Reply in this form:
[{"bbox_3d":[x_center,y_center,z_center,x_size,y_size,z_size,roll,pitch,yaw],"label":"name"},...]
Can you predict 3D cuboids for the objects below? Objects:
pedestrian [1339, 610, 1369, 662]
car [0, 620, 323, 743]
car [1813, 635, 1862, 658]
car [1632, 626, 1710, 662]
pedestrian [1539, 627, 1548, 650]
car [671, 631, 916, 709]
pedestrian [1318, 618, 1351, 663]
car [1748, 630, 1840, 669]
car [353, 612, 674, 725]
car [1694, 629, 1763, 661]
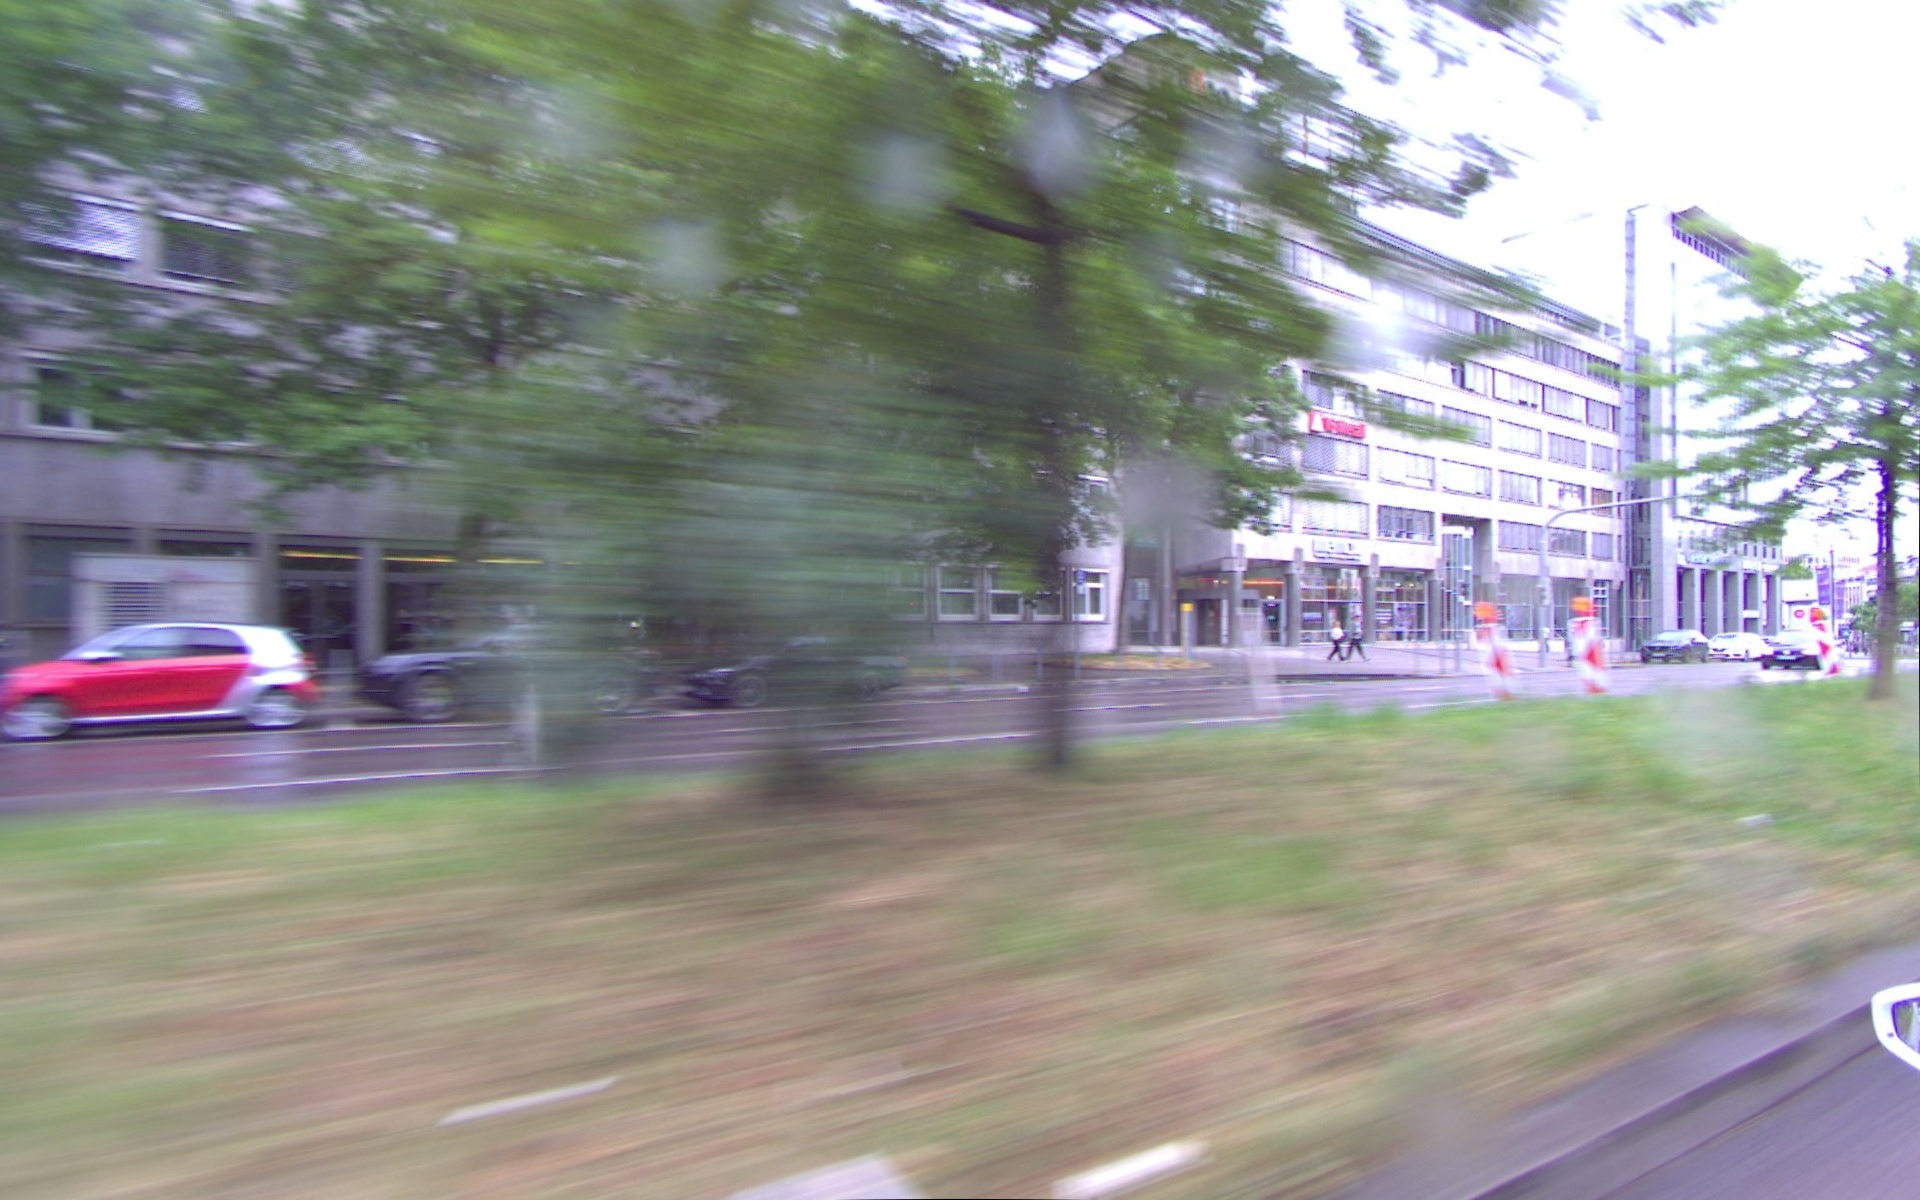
[{"bbox_3d":[15.083,1.366,38.451,0.668,1.944,0.839,1,-1,-26],"label":"pedestrian"},{"bbox_3d":[-11.138,1.099,14.169,3.588,1.539,1.677,1,-4,-34],"label":"car"},{"bbox_3d":[61.100,3.226,69.932,3.964,1.568,1.795,2,-3,-38],"label":"car"},{"bbox_3d":[32.899,2.043,46.451,4.040,1.556,1.861,2,-3,-38],"label":"car"},{"bbox_3d":[35.739,2.366,61.474,0.377,1.365,0.349,1,-1,-34],"label":"pedestrian"},{"bbox_3d":[-3.311,1.372,20.331,4.605,1.412,1.758,1,-4,-34],"label":"car"},{"bbox_3d":[14.214,1.536,38.137,0.668,1.667,0.990,1,-1,-26],"label":"pedestrian"},{"bbox_3d":[30.400,1.775,36.574,3.965,1.328,1.792,1,-3,-38],"label":"car"},{"bbox_3d":[-7.490,1.123,17.064,4.790,1.674,1.759,1,-4,-33],"label":"car"},{"bbox_3d":[38.990,2.302,50.929,3.964,1.568,1.795,2,-3,-38],"label":"car"}]
